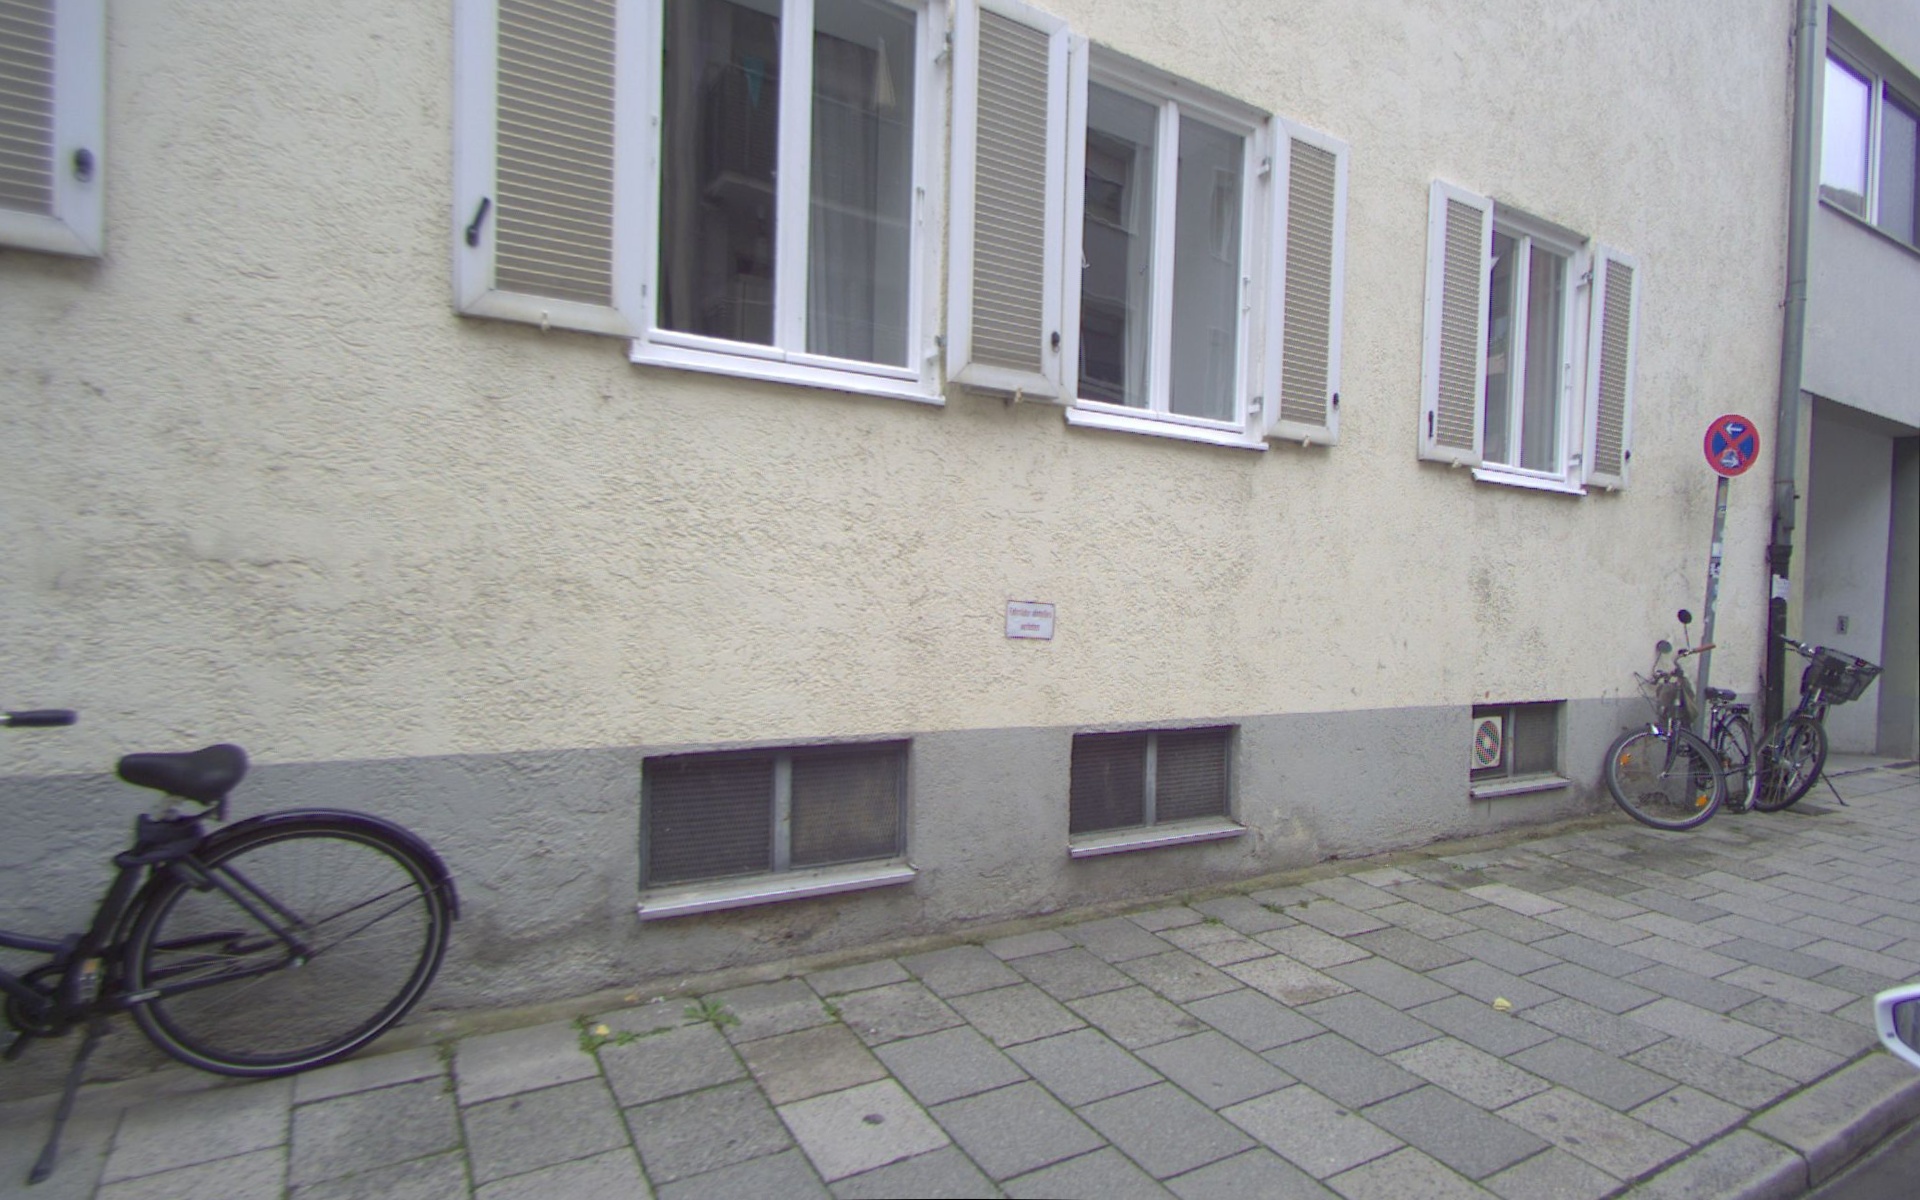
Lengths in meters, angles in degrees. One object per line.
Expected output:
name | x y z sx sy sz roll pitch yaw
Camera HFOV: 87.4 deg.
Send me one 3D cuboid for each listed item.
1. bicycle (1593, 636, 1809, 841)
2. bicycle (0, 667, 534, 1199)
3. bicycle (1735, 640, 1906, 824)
bicycle | 4.817 0.847 6.504 1.586 1.175 0.455 2 3 -30
bicycle | -1.969 0.709 2.165 1.805 0.997 0.699 2 5 -36
bicycle | 6.301 0.898 7.324 1.705 1.175 0.557 2 1 -37
